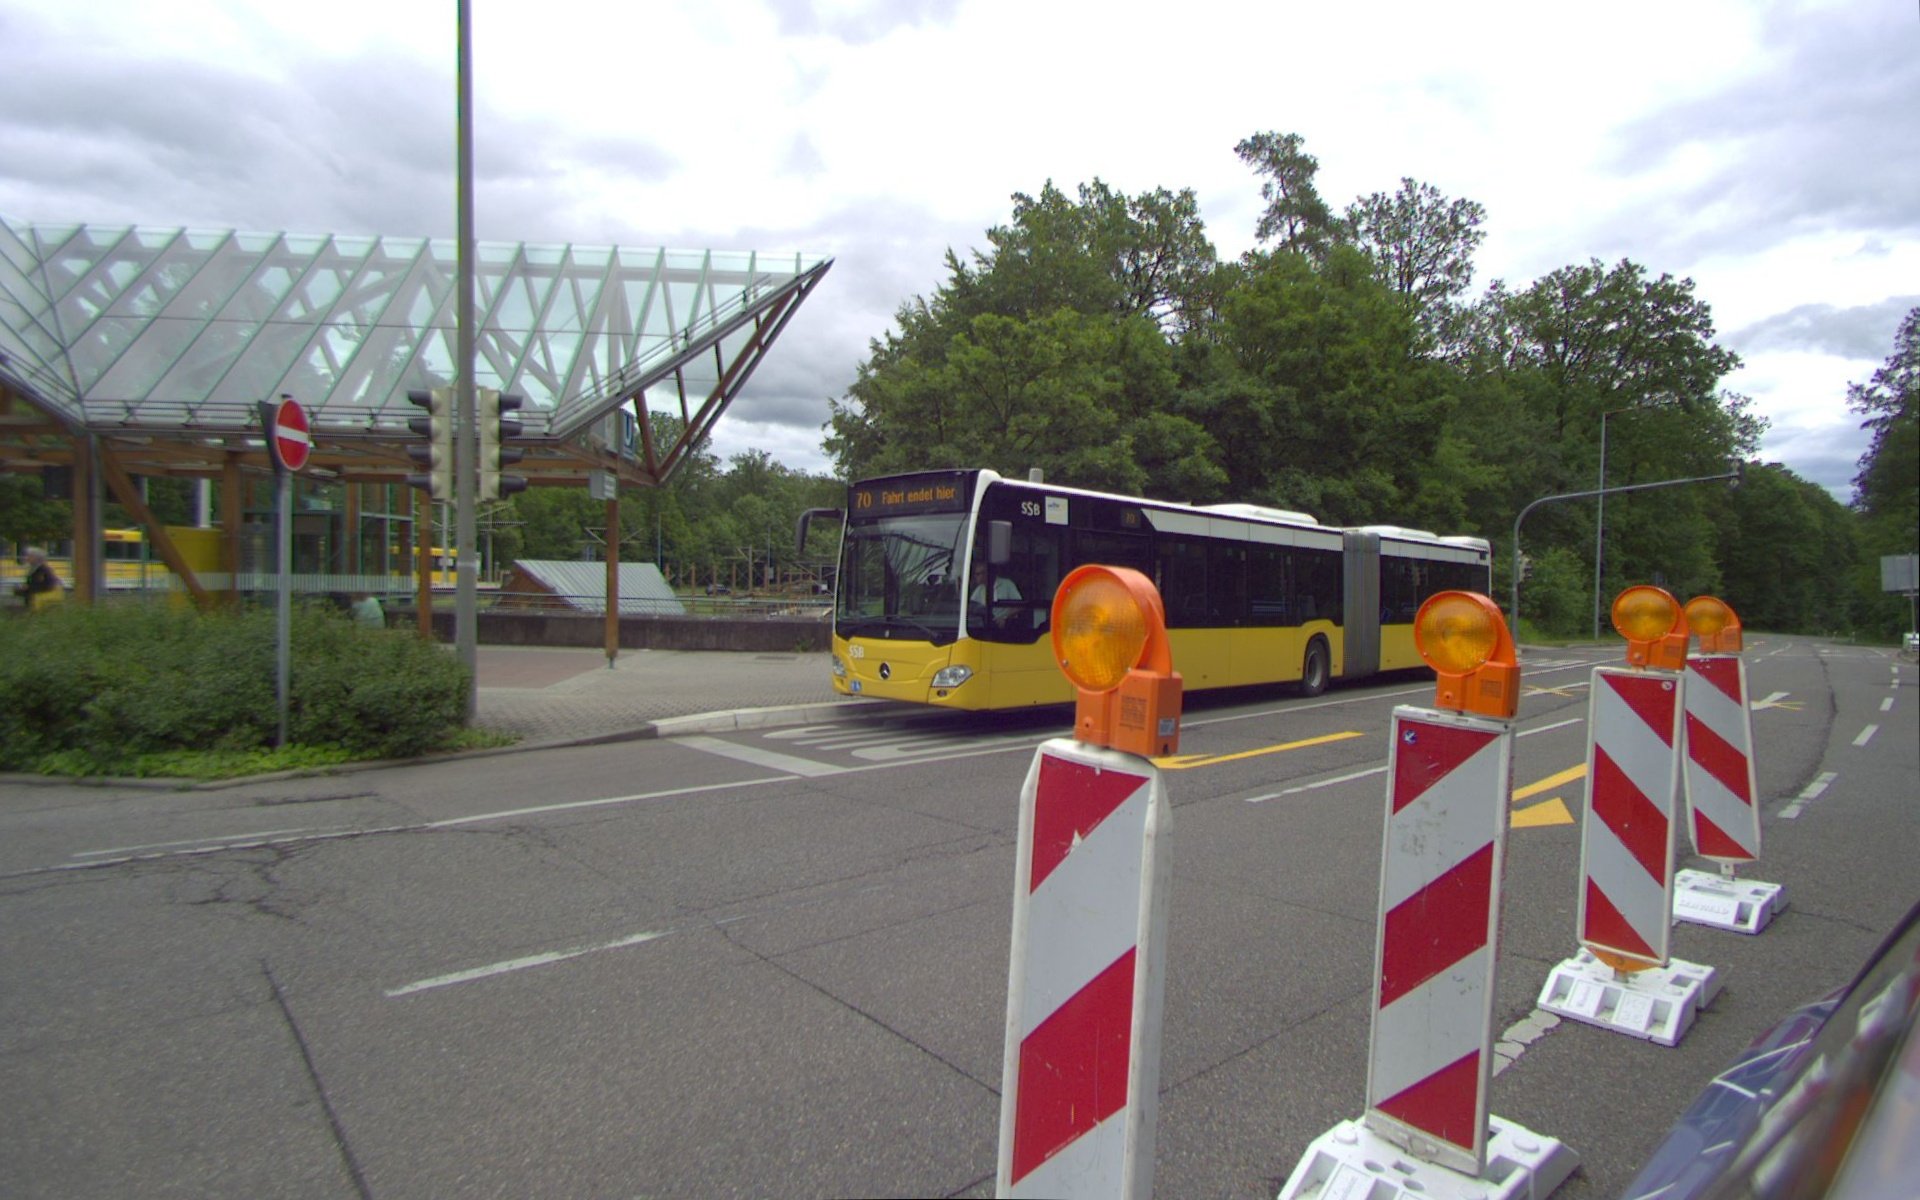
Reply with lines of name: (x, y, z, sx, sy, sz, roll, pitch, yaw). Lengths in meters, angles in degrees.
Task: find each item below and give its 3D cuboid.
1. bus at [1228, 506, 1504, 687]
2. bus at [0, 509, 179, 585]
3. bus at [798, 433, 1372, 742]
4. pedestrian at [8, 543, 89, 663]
bus: (8.907, -0.064, 21.607, 2.803, 3.199, 7.632, 1, 0, 44)
bus: (-47.268, -2.508, 47.524, 3.919, 3.527, 18.504, 0, 1, 13)
bus: (2.636, -0.126, 15.162, 2.804, 3.199, 10.348, 1, 0, 45)
pedestrian: (-13.847, 0.046, 15.384, 0.657, 1.780, 0.654, 0, 0, 9)
